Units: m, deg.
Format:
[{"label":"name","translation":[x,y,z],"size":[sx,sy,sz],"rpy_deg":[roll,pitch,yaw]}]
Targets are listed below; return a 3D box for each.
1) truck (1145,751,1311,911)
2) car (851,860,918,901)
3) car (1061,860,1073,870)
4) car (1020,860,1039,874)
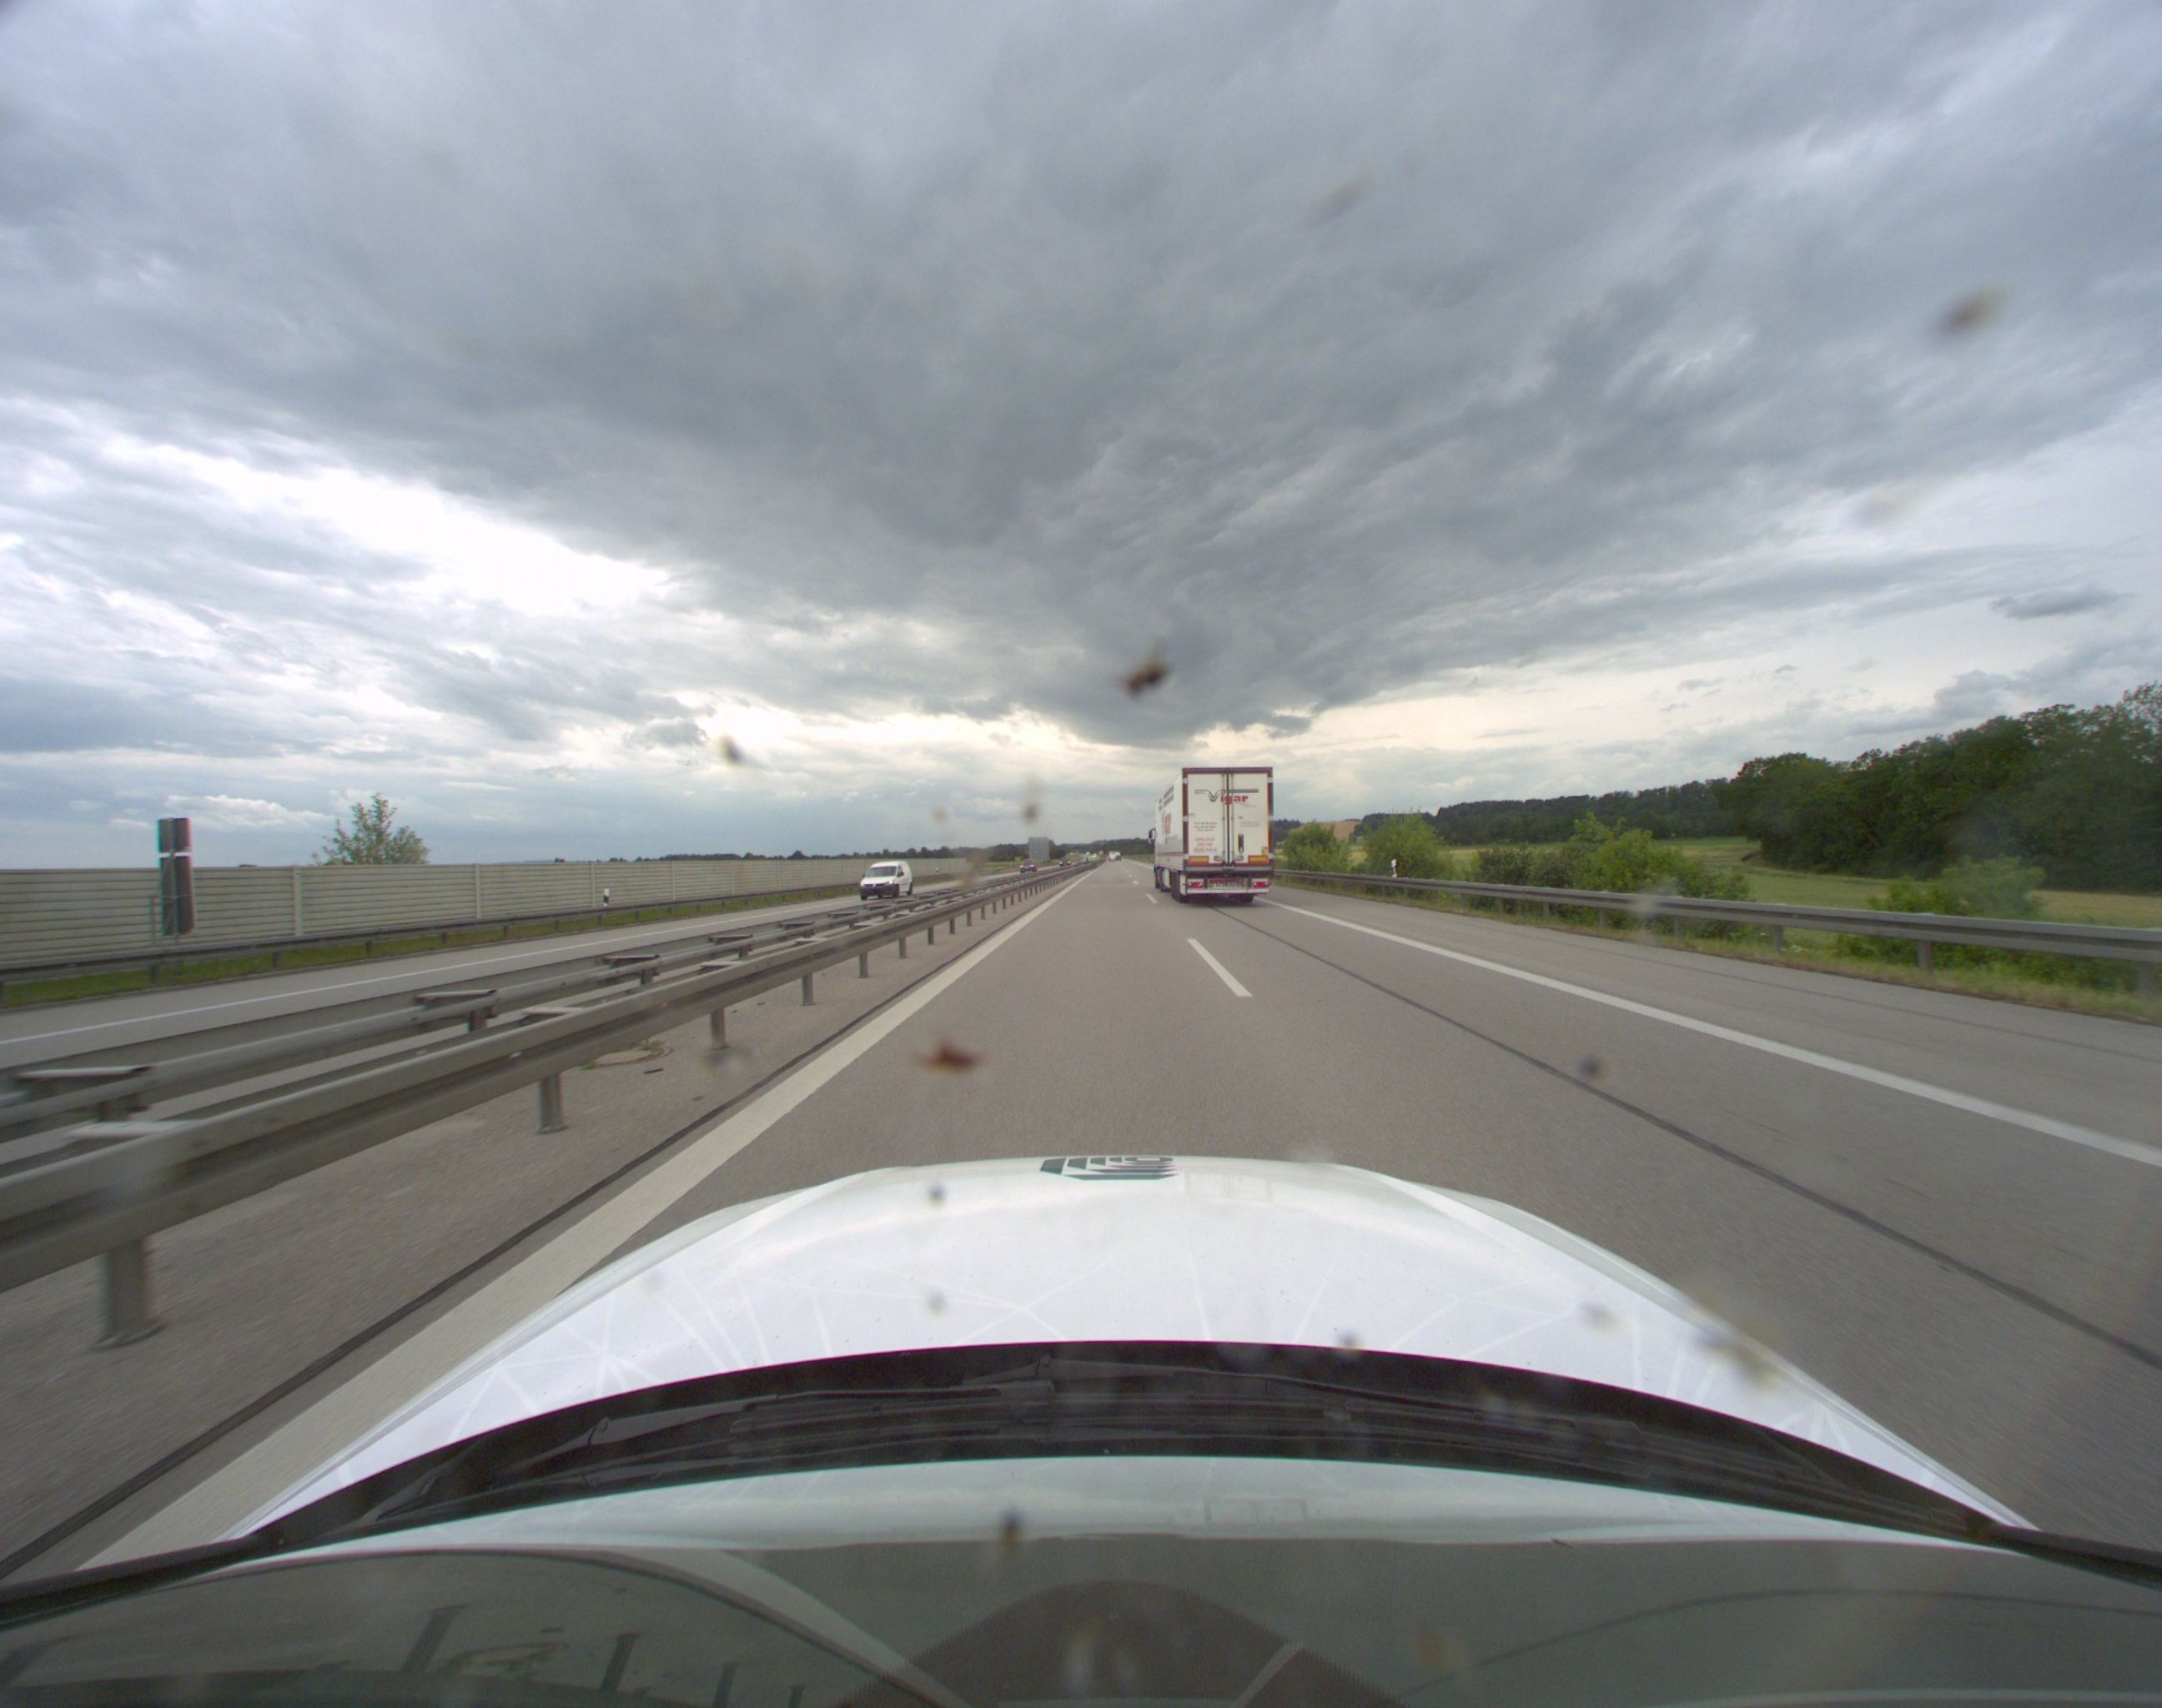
[{"label":"truck","translation":[4.775,-0.666,31.091],"size":[3.659,4.412,16.345],"rpy_deg":[-2,0,1]},{"label":"car","translation":[-9.595,1.260,40.161],"size":[1.749,1.742,4.916],"rpy_deg":[-5,0,2]},{"label":"car","translation":[-2.542,2.021,147.504],"size":[1.888,1.631,4.176],"rpy_deg":[-5,-1,2]},{"label":"car","translation":[-6.476,1.586,102.518],"size":[1.888,1.631,4.176],"rpy_deg":[-5,-1,2]}]
